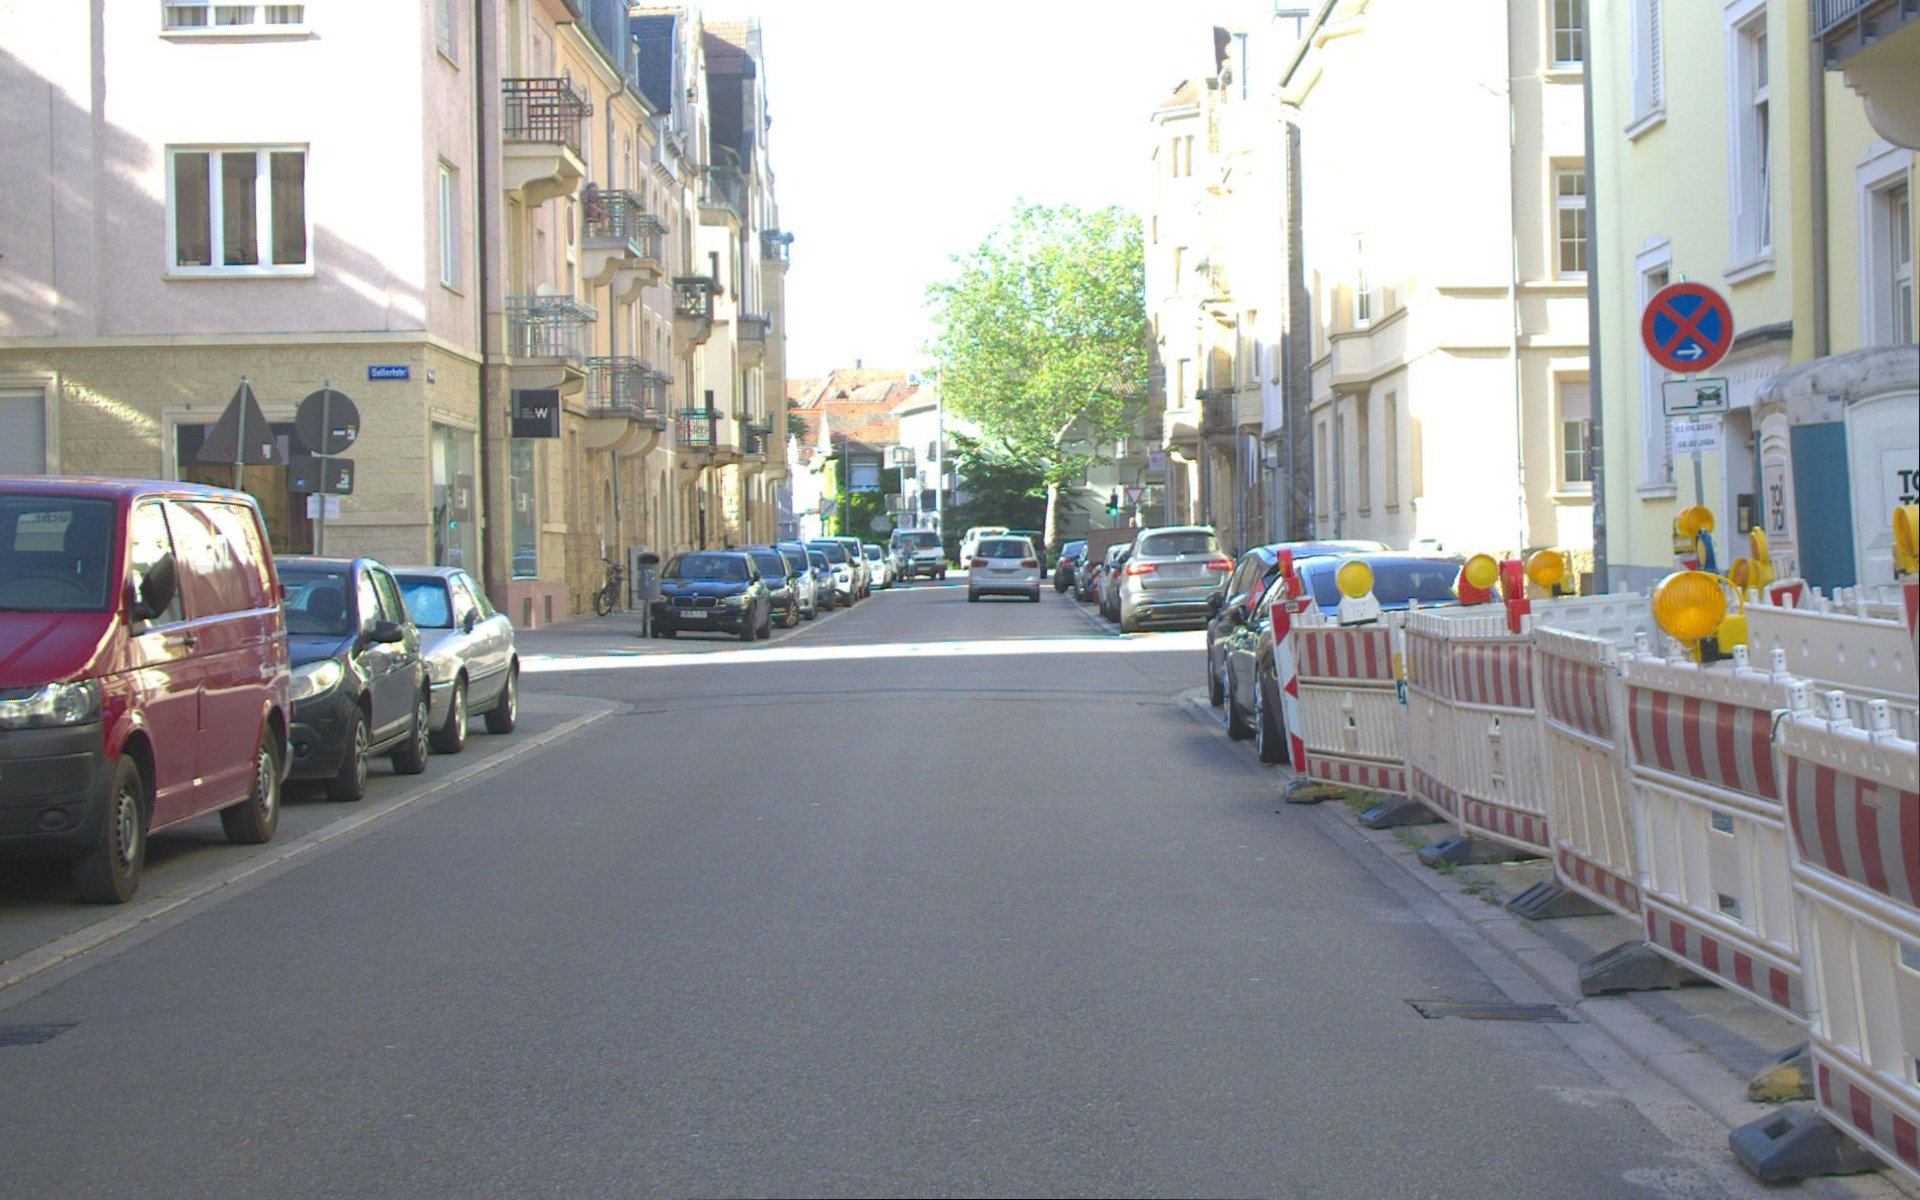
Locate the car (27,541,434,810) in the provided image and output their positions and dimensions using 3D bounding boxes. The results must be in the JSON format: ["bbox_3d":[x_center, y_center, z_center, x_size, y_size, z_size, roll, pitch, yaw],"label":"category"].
[{"bbox_3d":[-4.597,0.409,22.236,1.762,1.497,4.000,-3,1,-1],"label":"car"}]

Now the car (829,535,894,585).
[{"bbox_3d":[-3.209,-1.315,112.836,2.003,1.600,4.487,0,0,0],"label":"car"}]

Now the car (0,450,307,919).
[{"bbox_3d":[-4.525,0.314,16.558,1.762,1.918,4.935,-1,1,0],"label":"car"}]

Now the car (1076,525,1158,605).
[{"bbox_3d":[3.795,-0.825,83.779,1.838,1.781,4.028,-2,-1,1],"label":"car"}]

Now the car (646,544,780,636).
[{"bbox_3d":[-3.939,-0.167,55.290,1.679,1.421,4.273,0,0,2],"label":"car"}]

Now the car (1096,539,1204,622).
[{"bbox_3d":[3.574,-0.341,65.390,1.838,1.426,4.028,-3,0,1],"label":"car"}]

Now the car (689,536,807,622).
[{"bbox_3d":[-4.013,-0.404,65.822,2.003,1.577,4.487,0,0,0],"label":"car"}]

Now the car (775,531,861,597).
[{"bbox_3d":[-3.575,-0.909,87.125,2.003,1.613,4.487,0,0,0],"label":"car"}]

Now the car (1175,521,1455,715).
[{"bbox_3d":[3.048,0.107,30.314,1.762,1.465,4.085,-4,1,-3],"label":"car"}]

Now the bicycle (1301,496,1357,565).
[{"bbox_3d":[6.878,-1.293,64.217,0.761,1.242,2.592,-2,1,0],"label":"bicycle"}]

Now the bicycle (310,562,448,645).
[{"bbox_3d":[-8.381,0.051,49.654,1.898,1.131,0.648,-1,3,-6],"label":"bicycle"}]

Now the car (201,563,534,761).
[{"bbox_3d":[-4.603,0.427,27.350,1.762,1.373,4.478,-1,1,1],"label":"car"}]

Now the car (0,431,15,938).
[{"bbox_3d":[-4.637,0.386,10.502,1.975,1.918,5.309,-1,1,0],"label":"car"}]

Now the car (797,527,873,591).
[{"bbox_3d":[-3.535,-1.165,97.995,2.003,1.782,4.487,0,0,0],"label":"car"}]

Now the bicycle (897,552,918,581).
[{"bbox_3d":[-1.866,-1.194,122.971,0.662,1.015,2.066,-4,0,0],"label":"bicycle"}]

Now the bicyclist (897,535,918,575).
[{"bbox_3d":[-1.878,-1.614,122.985,0.662,1.381,0.754,-3,0,0],"label":"bicyclist"}]

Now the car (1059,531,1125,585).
[{"bbox_3d":[3.918,-1.237,102.611,1.838,1.426,4.028,-3,-1,1],"label":"car"}]

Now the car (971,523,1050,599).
[{"bbox_3d":[1.303,-1.006,89.570,2.003,1.907,4.487,0,0,0],"label":"car"}]

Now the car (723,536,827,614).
[{"bbox_3d":[-3.914,-0.539,73.492,2.003,1.613,4.487,0,0,0],"label":"car"}]

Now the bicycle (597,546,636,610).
[{"bbox_3d":[-7.112,-0.458,71.188,0.541,1.297,1.866,-1,1,2],"label":"bicycle"}]

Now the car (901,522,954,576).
[{"bbox_3d":[-1.246,-1.937,131.734,2.003,1.993,4.487,0,0,0],"label":"car"}]

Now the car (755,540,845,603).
[{"bbox_3d":[-3.803,-0.684,82.541,1.978,1.477,4.328,0,0,0],"label":"car"}]

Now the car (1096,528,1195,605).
[{"bbox_3d":[3.792,-0.662,70.988,1.838,1.426,4.028,-3,0,1],"label":"car"}]

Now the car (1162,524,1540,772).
[{"bbox_3d":[2.670,0.263,24.695,1.801,1.465,5.112,-4,1,-3],"label":"car"}]

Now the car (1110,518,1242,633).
[{"bbox_3d":[3.397,-0.363,54.668,1.913,1.639,4.773,-3,0,3],"label":"car"}]

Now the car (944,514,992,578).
[{"bbox_3d":[0.362,-2.301,146.742,1.838,2.525,4.175,-3,-1,1],"label":"car"}]
